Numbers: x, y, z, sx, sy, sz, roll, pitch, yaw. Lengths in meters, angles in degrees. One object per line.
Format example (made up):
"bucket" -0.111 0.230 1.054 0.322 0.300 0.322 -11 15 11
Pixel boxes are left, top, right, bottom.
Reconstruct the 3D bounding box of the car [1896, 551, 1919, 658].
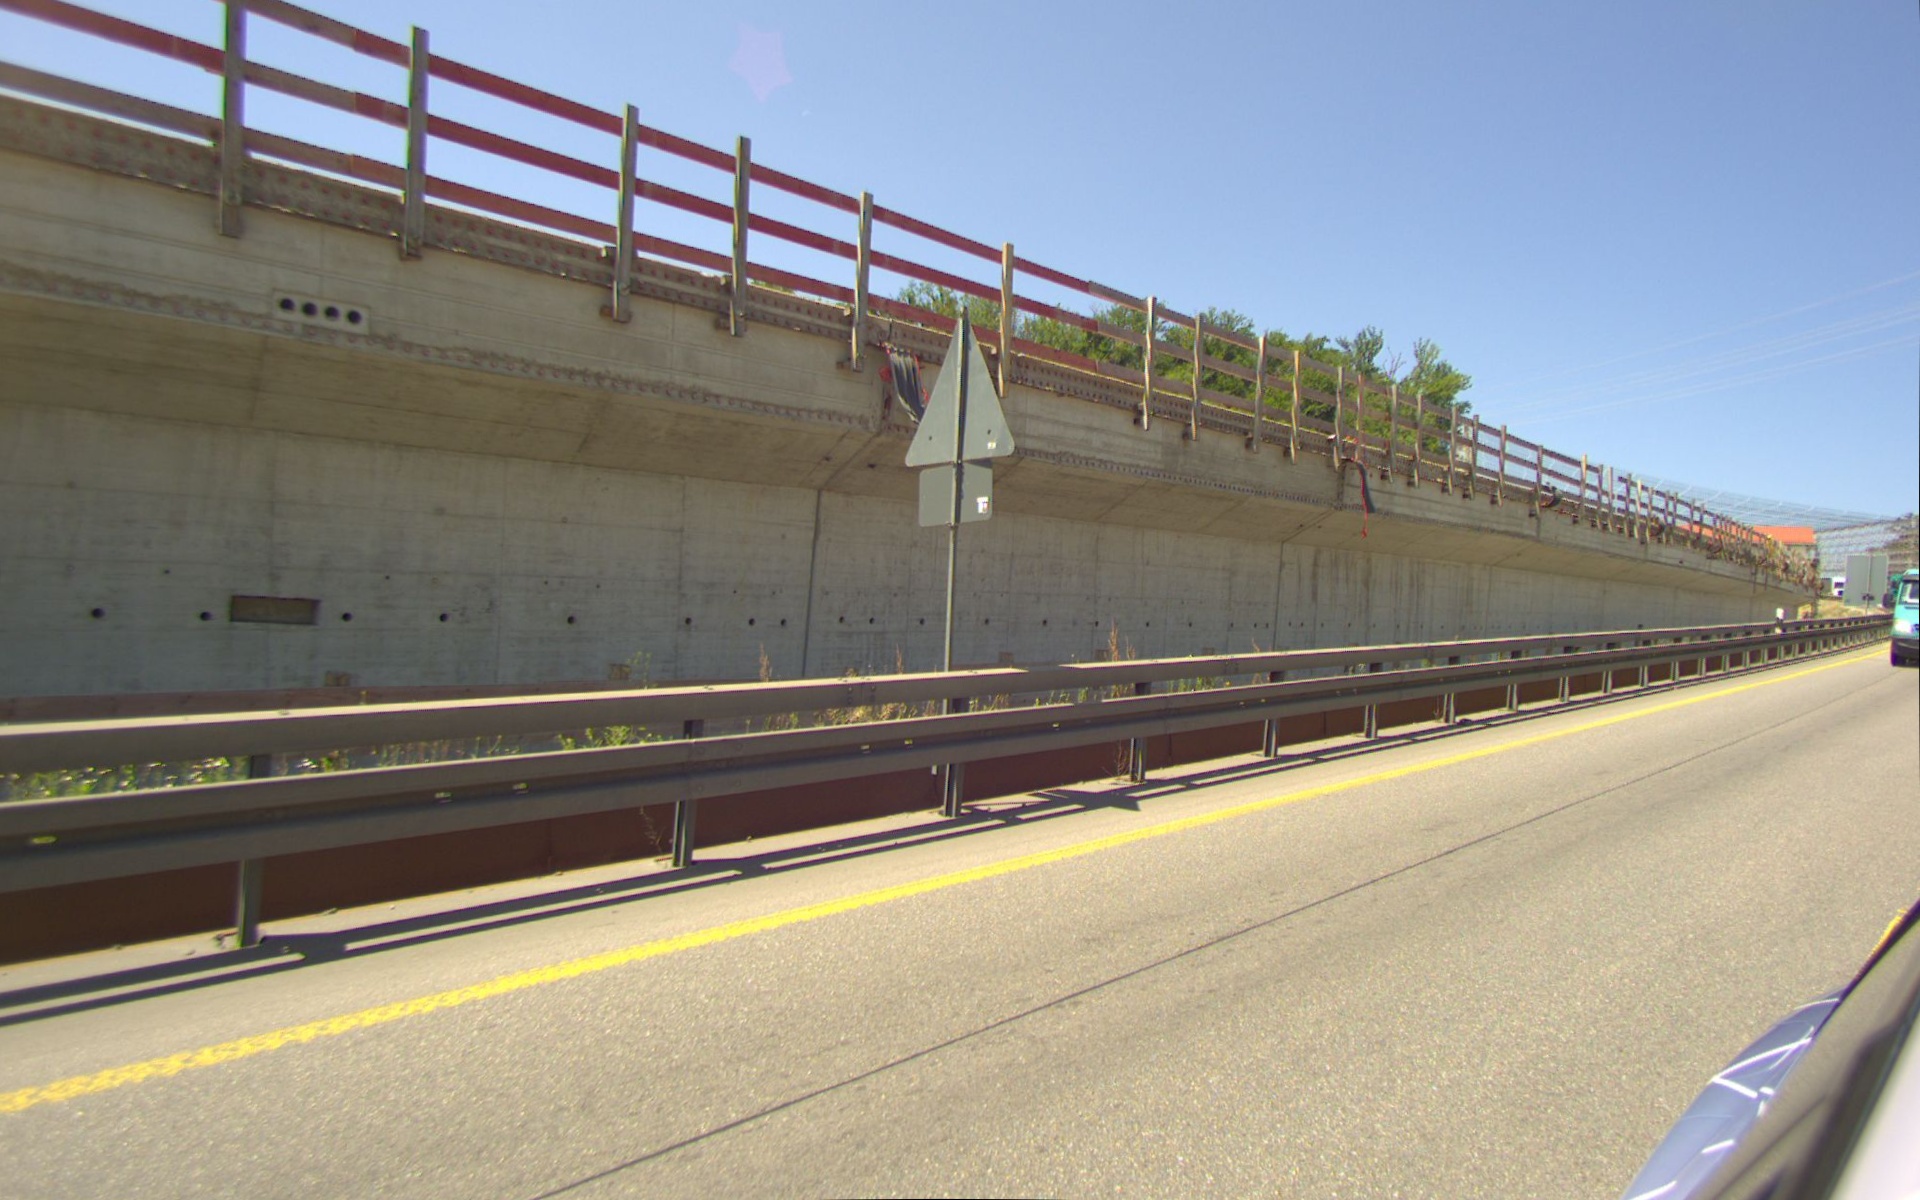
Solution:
"car" 23.983 0.075 24.061 6.789 2.355 2.213 -1 2 -45
